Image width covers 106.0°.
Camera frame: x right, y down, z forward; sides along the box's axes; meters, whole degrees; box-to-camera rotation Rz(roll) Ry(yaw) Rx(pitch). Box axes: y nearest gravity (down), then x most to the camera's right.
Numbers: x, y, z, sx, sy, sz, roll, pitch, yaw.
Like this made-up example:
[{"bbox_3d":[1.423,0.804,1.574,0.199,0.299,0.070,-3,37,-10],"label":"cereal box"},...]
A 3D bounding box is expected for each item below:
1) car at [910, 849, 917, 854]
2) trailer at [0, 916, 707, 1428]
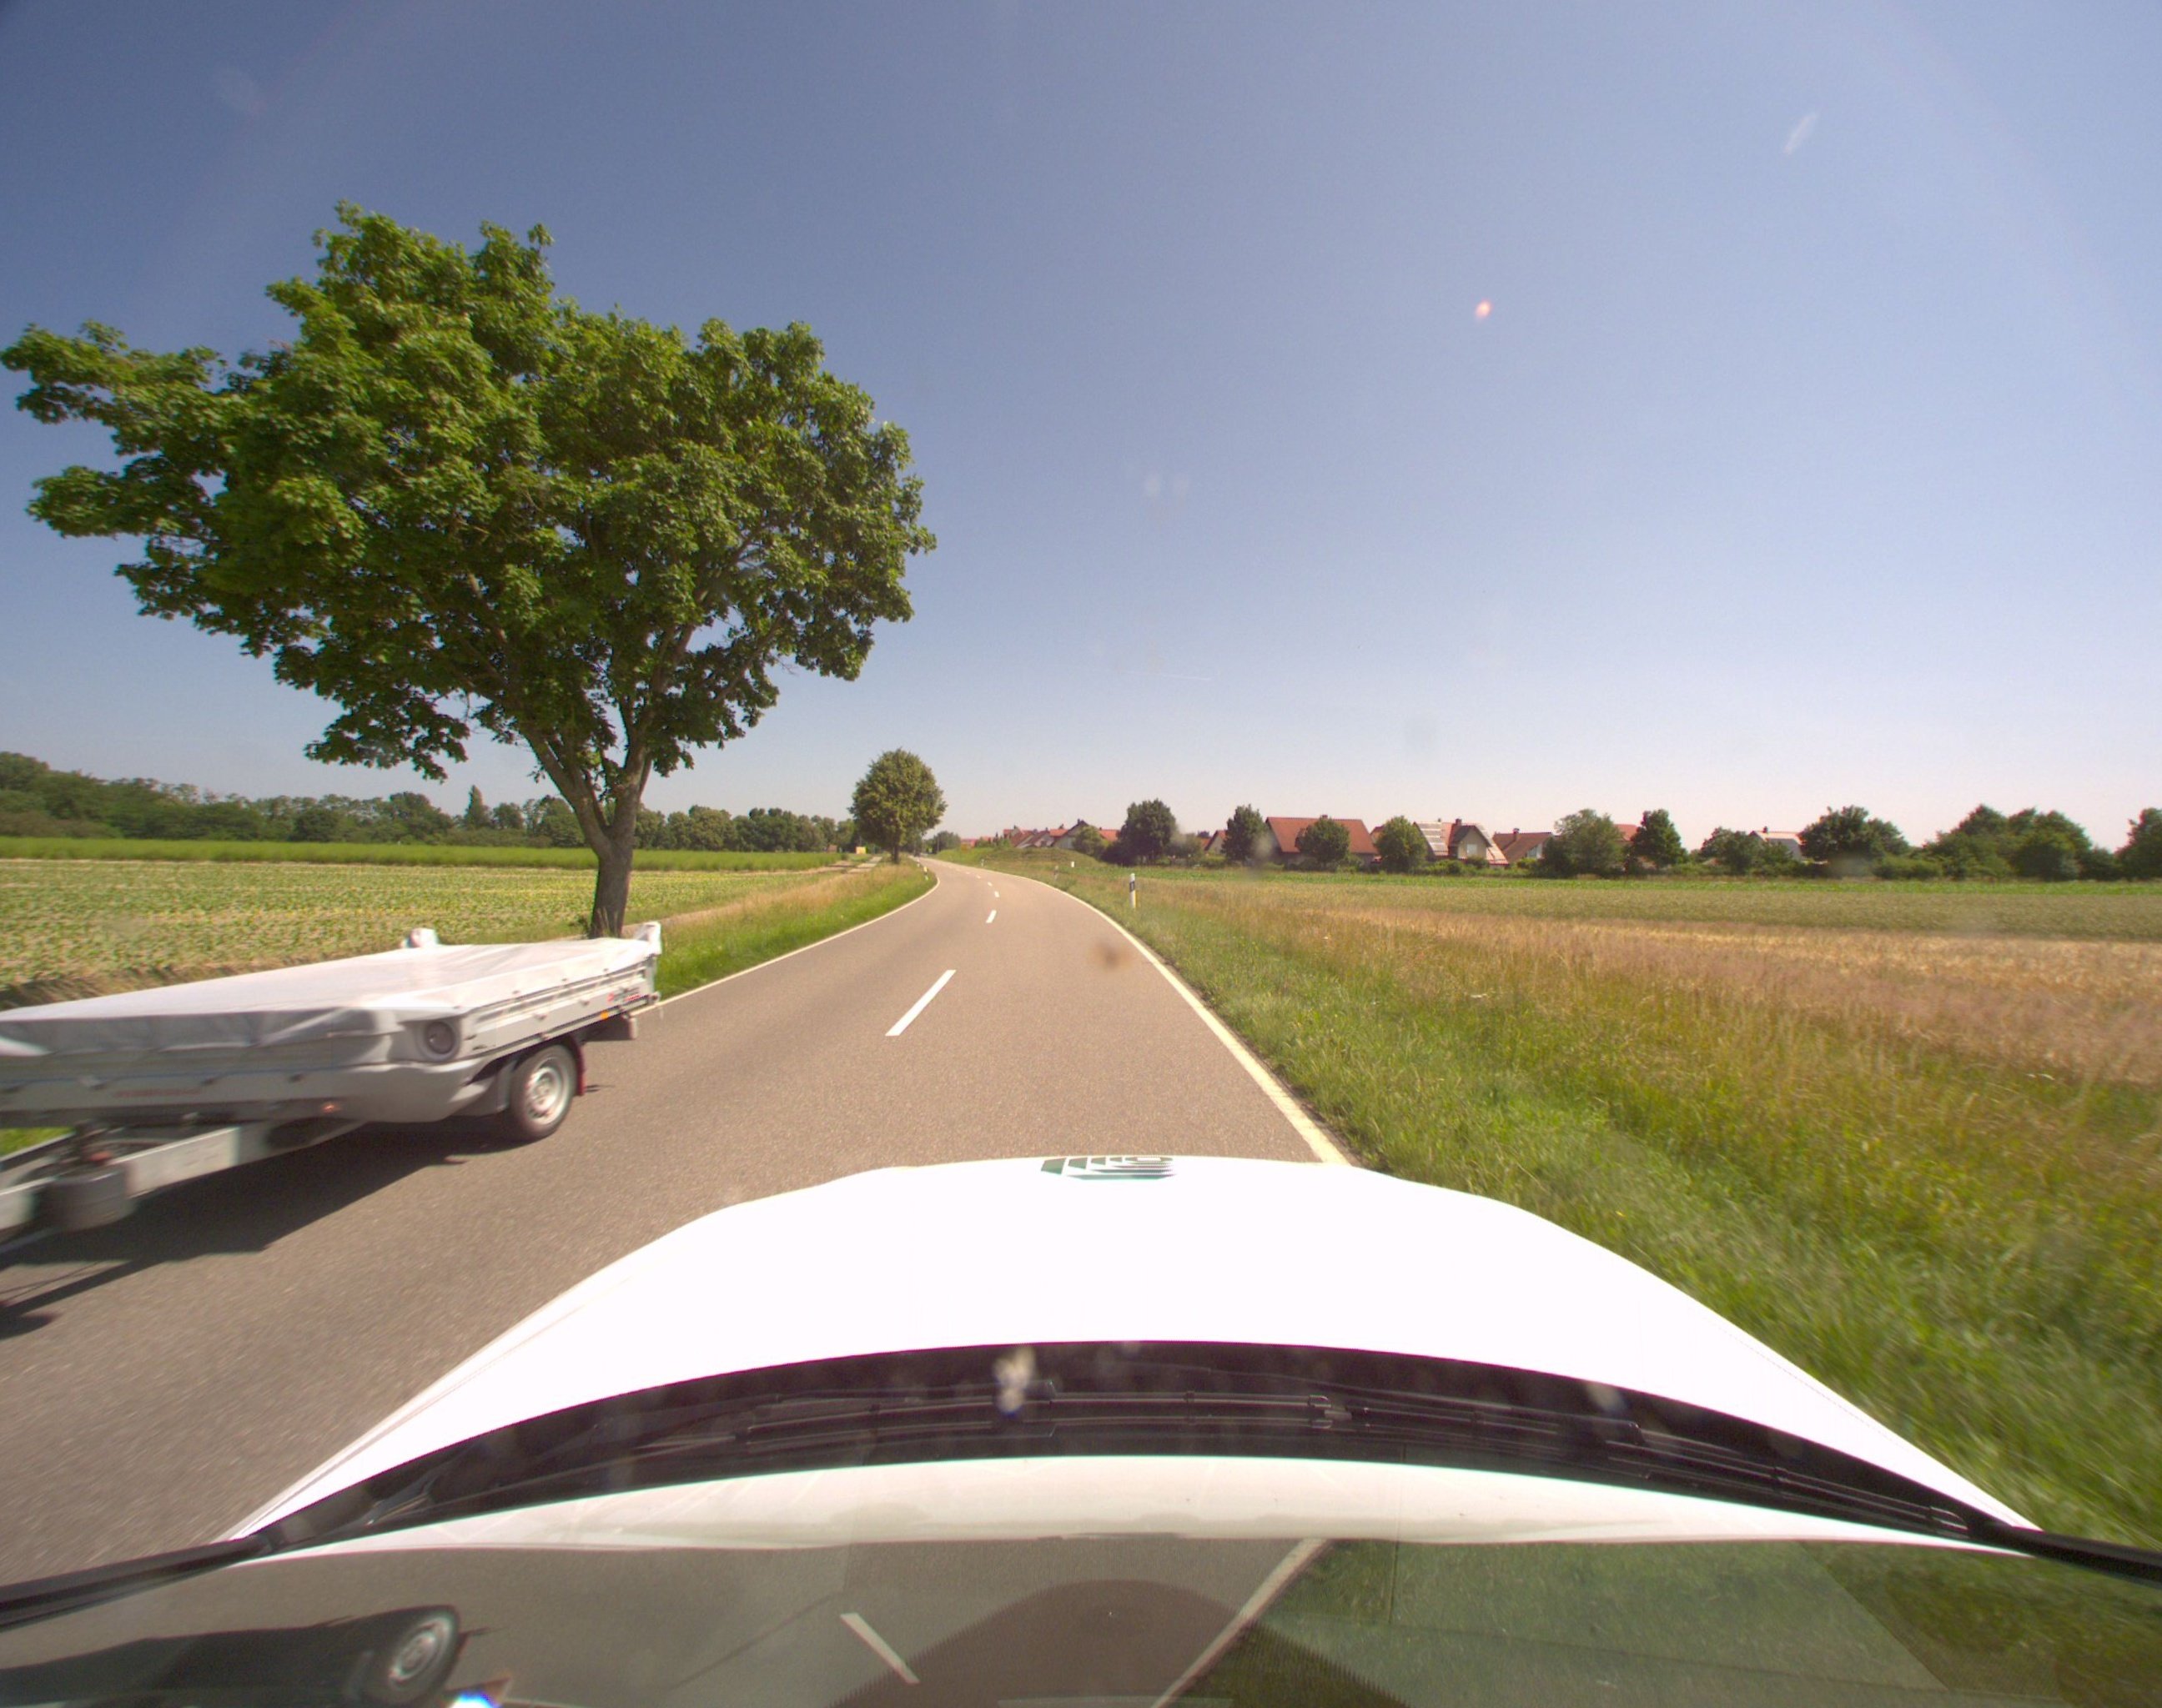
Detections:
[{"bbox_3d":[-52.430,-0.771,255.226,1.836,1.536,3.601,0,0,-7],"label":"car"},{"bbox_3d":[-3.687,1.041,4.212,1.618,1.065,4.117,-2,0,-1],"label":"trailer"}]
